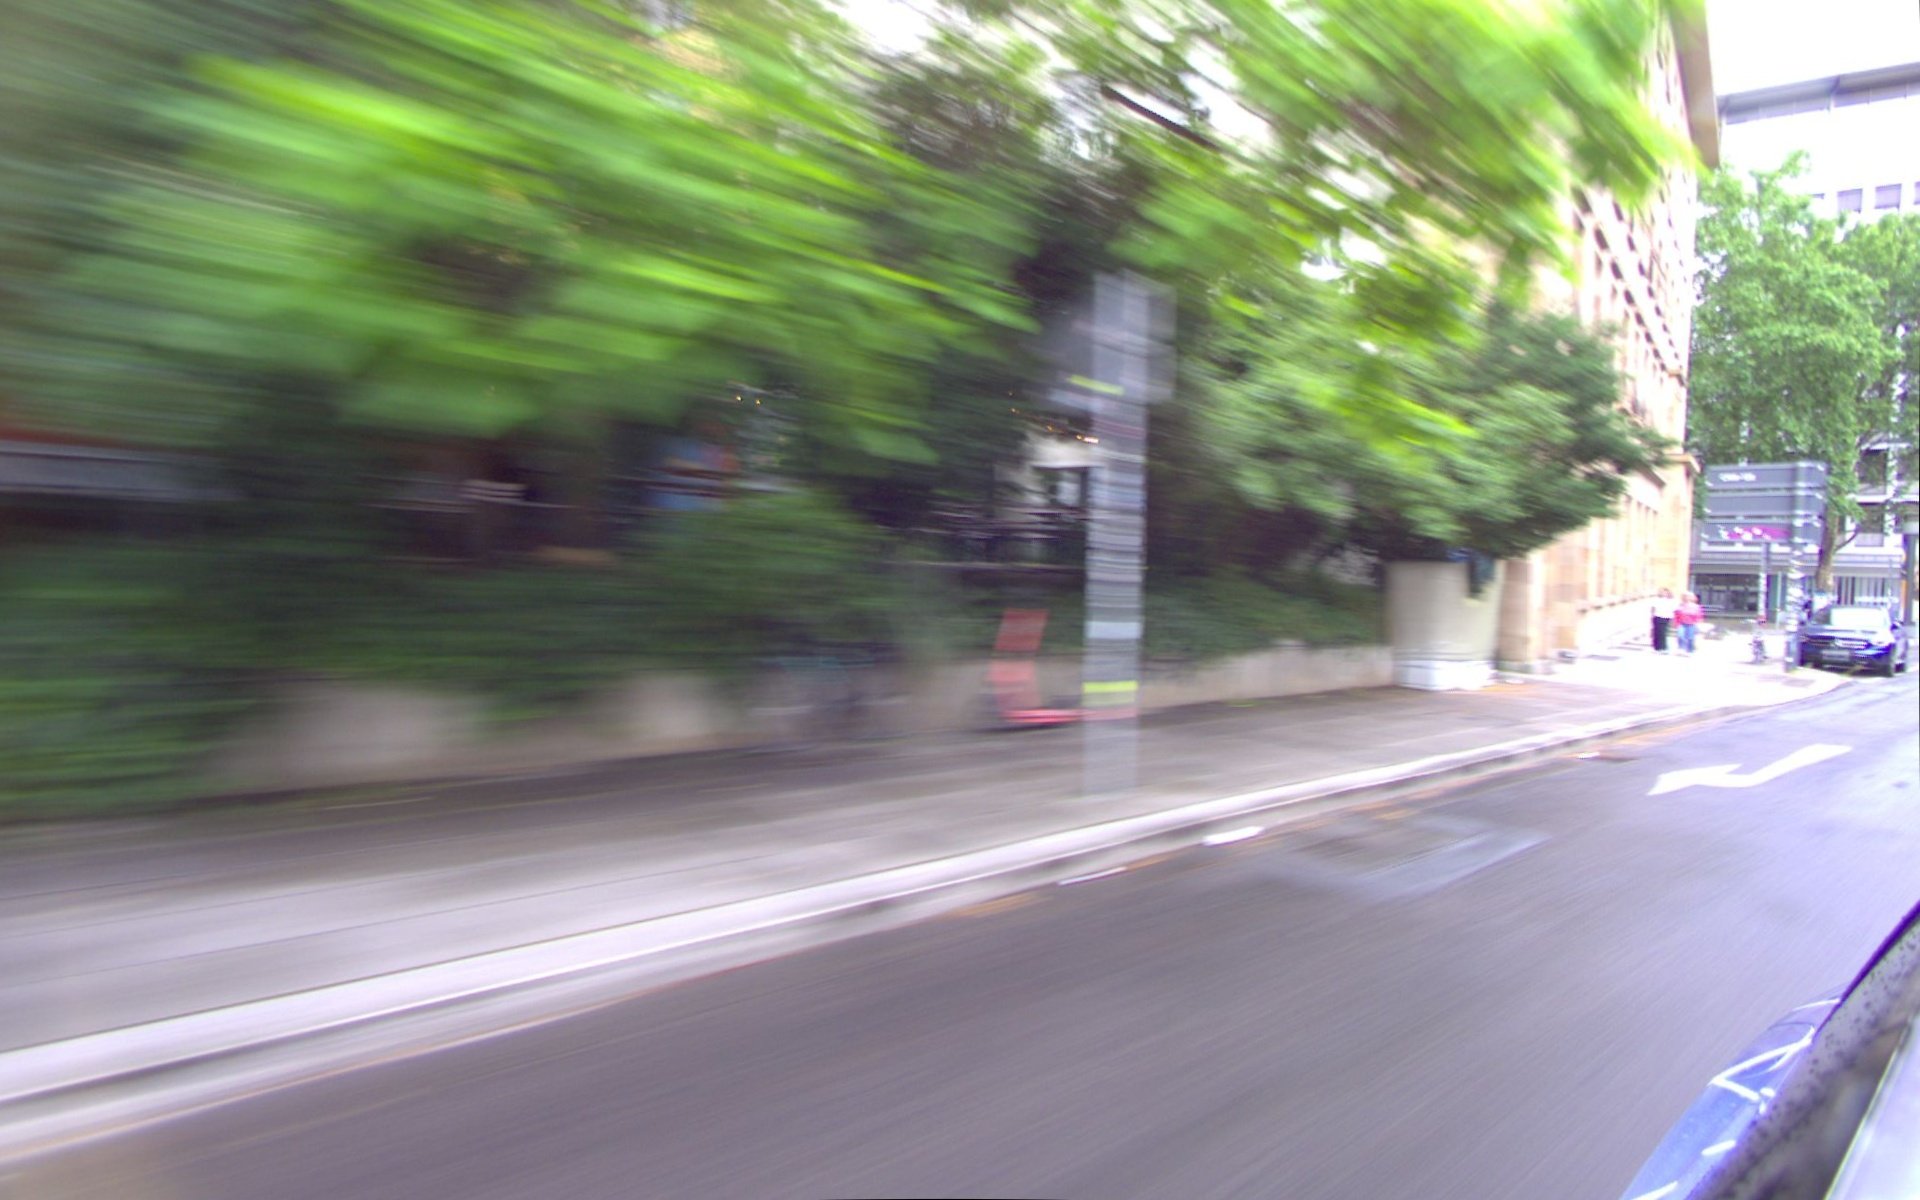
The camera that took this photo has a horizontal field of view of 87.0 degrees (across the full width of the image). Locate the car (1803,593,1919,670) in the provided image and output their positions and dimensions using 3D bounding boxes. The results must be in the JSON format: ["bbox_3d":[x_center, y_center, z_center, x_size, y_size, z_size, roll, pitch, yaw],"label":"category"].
[{"bbox_3d":[22.002,0.694,24.593,4.087,1.639,1.771,-1,2,-42],"label":"car"}]

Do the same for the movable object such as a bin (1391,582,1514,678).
[{"bbox_3d":[7.564,0.433,15.567,1.211,1.326,1.243,0,4,-39],"label":"movable object such as a bin"}]

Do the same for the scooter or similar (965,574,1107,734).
[{"bbox_3d":[0.669,0.437,8.731,1.190,1.274,0.448,1,3,-41],"label":"scooter or similar"}]

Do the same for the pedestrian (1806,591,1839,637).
[{"bbox_3d":[35.122,0.556,41.209,0.846,1.794,0.782,1,2,-34],"label":"pedestrian"}]

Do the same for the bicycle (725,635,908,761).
[{"bbox_3d":[-1.019,0.671,7.301,1.190,0.763,0.502,1,5,-41],"label":"bicycle"}]

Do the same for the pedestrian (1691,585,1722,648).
[{"bbox_3d":[18.322,0.394,24.860,0.522,1.510,0.666,2,2,33],"label":"pedestrian"}]

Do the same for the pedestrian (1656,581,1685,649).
[{"bbox_3d":[17.584,0.359,25.053,0.523,1.622,0.665,2,2,35],"label":"pedestrian"}]
